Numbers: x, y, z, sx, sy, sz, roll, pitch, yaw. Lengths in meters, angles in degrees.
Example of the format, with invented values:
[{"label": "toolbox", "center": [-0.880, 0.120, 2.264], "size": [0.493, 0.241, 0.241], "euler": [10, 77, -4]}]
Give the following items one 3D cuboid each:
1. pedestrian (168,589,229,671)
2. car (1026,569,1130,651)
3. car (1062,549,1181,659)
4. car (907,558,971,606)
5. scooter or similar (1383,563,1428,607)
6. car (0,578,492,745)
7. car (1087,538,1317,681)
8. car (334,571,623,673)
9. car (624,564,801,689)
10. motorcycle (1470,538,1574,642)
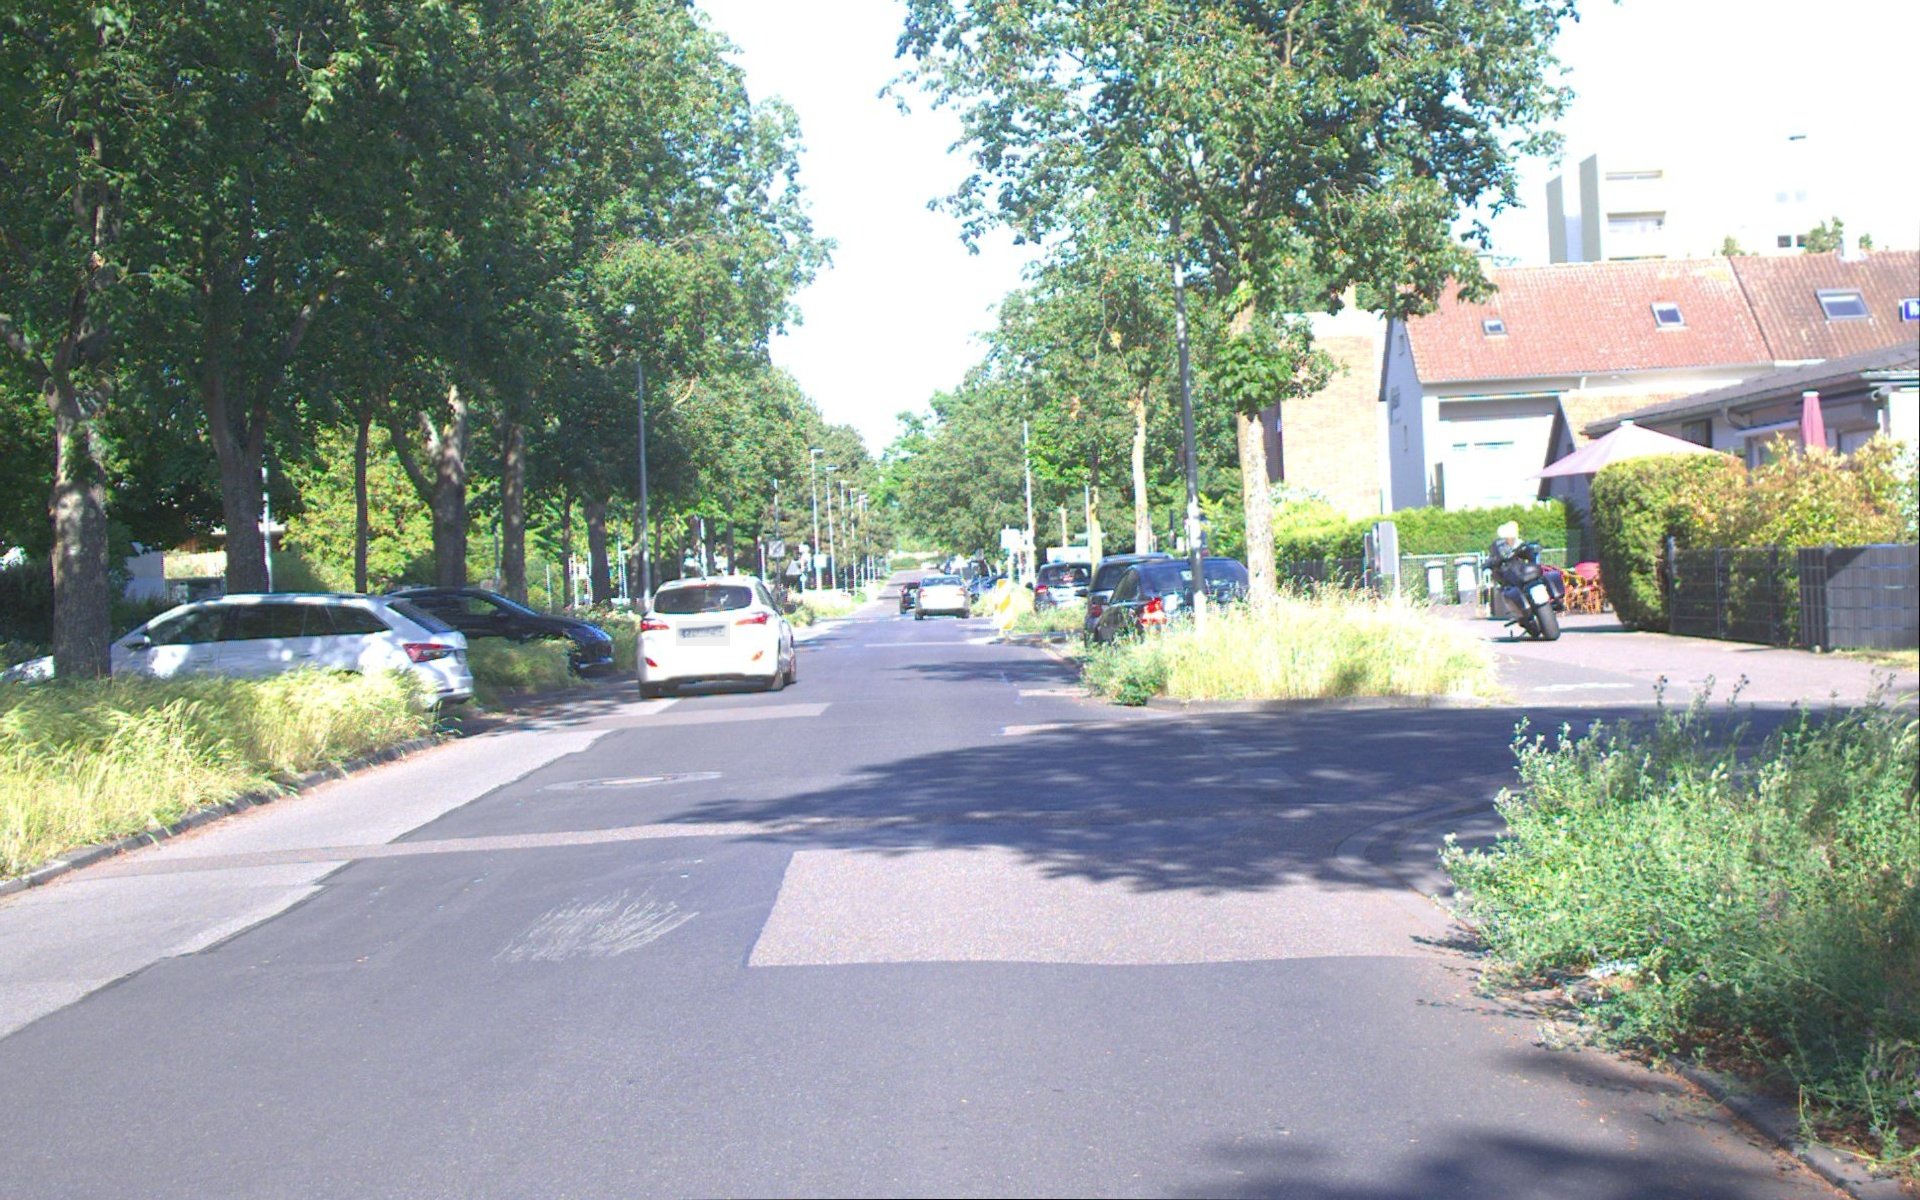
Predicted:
[{"label": "pedestrian", "center": [-17.356, 0.675, 78.317], "size": [1.224, 1.821, 1.551], "euler": [-1, 0, -17]}, {"label": "car", "center": [2.717, 0.234, 80.073], "size": [1.993, 1.722, 4.000], "euler": [-4, 0, -3]}, {"label": "car", "center": [2.457, 0.055, 53.178], "size": [1.610, 1.616, 4.382], "euler": [1, 0, 0]}, {"label": "car", "center": [-0.683, -0.570, 110.557], "size": [1.993, 1.503, 3.658], "euler": [1, 0, -1]}, {"label": "scooter or similar", "center": [8.837, -0.291, 68.250], "size": [0.368, 0.855, 1.412], "euler": [-2, 1, -14]}, {"label": "car", "center": [-7.304, 0.608, 35.242], "size": [4.671, 1.498, 2.000], "euler": [-2, 1, 1]}, {"label": "car", "center": [2.842, 0.101, 41.381], "size": [1.993, 1.616, 4.382], "euler": [1, 0, -6]}, {"label": "car", "center": [-7.647, 0.347, 54.912], "size": [4.367, 1.526, 1.808], "euler": [-1, 0, -1]}, {"label": "car", "center": [-3.126, 0.302, 44.185], "size": [1.993, 1.450, 4.225], "euler": [-2, 1, -1]}, {"label": "motorcycle", "center": [7.089, -0.140, 43.499], "size": [0.818, 1.223, 2.352], "euler": [-4, 1, -1]}]
